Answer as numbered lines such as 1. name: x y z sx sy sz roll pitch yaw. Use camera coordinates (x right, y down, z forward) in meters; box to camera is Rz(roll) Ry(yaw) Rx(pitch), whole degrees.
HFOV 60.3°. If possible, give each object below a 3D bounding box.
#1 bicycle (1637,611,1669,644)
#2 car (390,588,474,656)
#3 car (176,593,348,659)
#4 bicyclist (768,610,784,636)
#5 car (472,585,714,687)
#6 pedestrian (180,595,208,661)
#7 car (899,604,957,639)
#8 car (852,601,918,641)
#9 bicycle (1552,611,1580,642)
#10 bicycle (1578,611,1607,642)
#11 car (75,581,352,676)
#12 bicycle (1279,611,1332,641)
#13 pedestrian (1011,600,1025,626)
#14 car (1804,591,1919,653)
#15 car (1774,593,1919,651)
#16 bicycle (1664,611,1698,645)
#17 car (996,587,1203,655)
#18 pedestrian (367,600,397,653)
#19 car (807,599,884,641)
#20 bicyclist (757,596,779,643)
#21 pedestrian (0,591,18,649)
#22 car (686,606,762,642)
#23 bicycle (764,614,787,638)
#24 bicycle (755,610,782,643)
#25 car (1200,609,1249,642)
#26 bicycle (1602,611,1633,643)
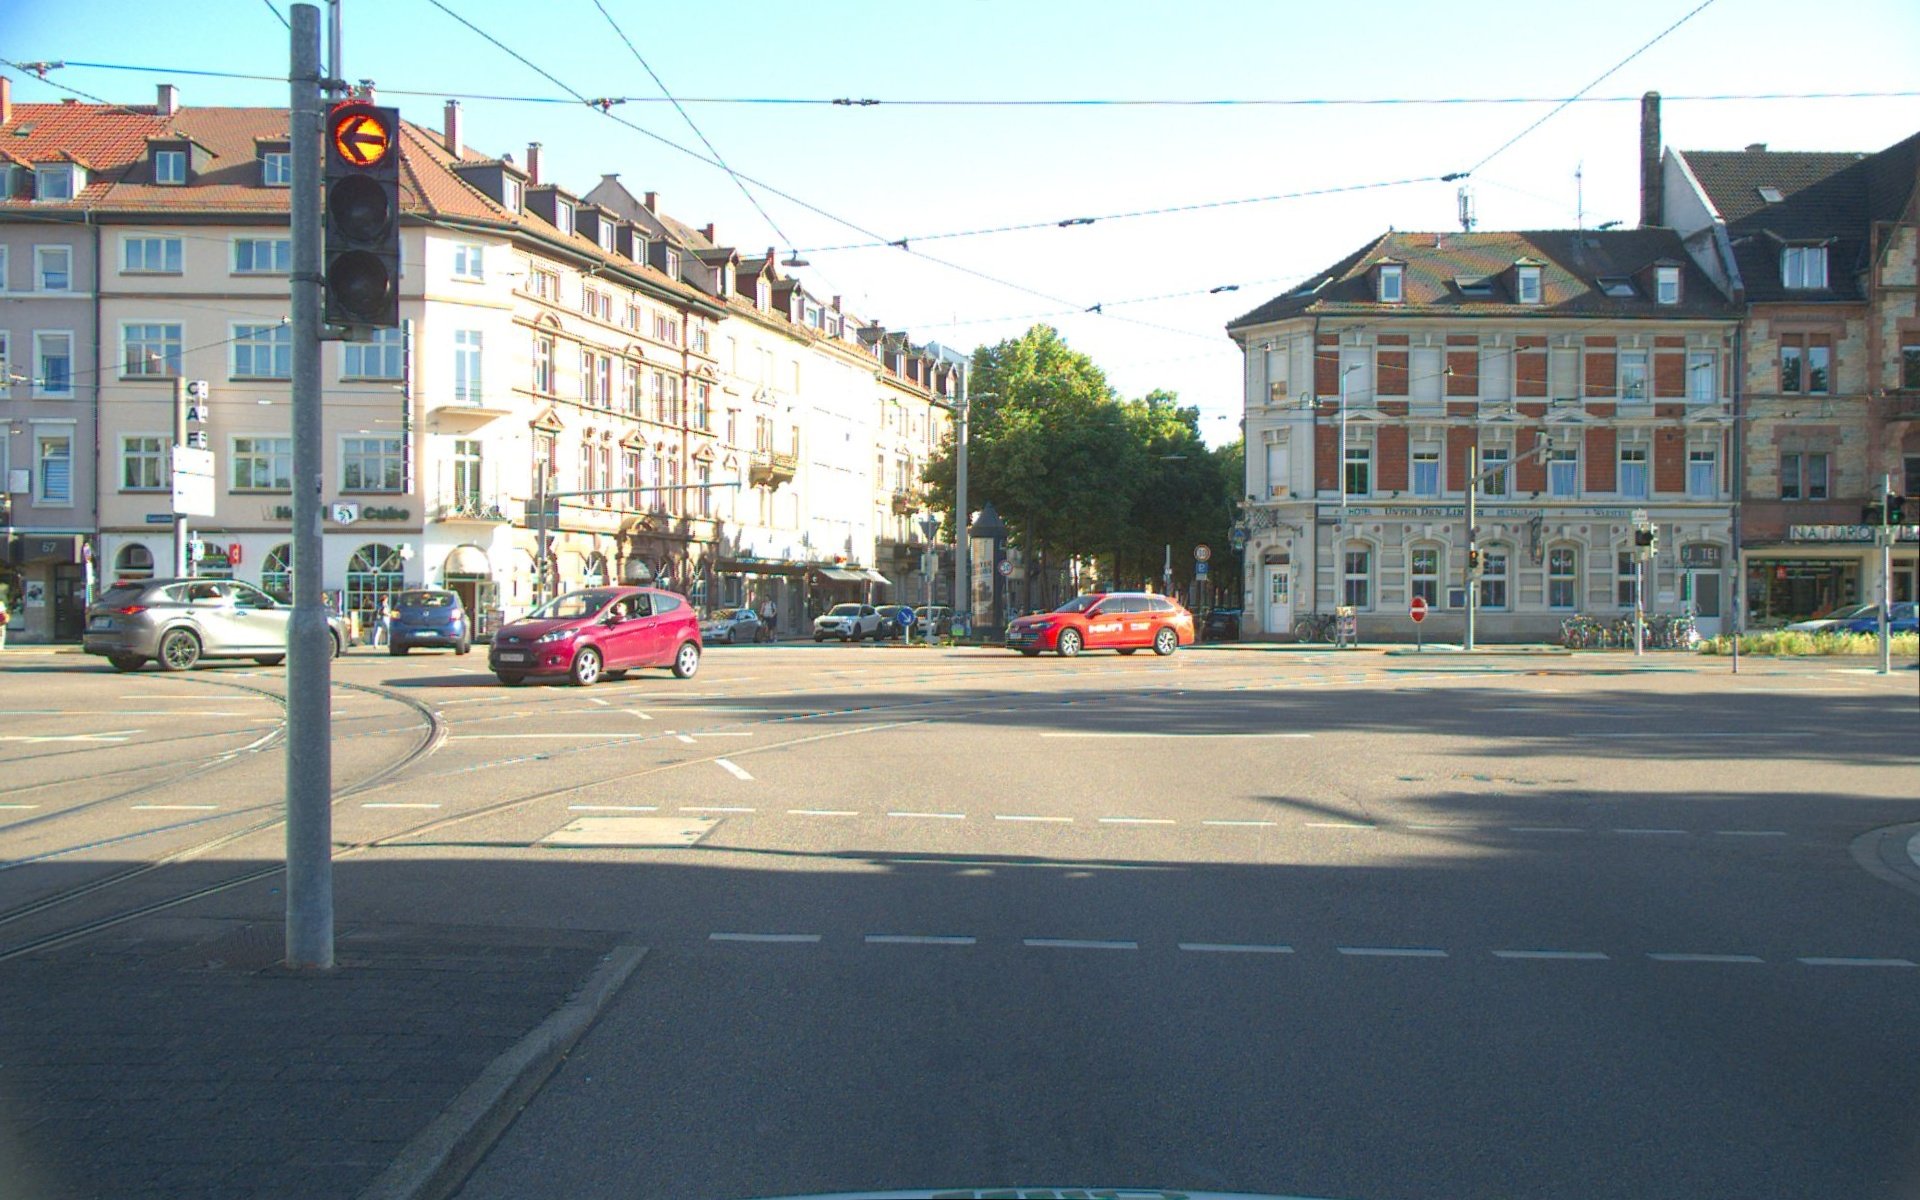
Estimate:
1. bicycle: 22.459 0.883 53.649 0.749 1.025 2.221 1 0 17
2. car: -12.646 0.482 39.759 1.755 1.530 3.903 0 1 -16
3. car: -18.034 0.641 42.737 4.102 1.602 1.830 1 0 26
4. bicyclist: -7.501 0.932 67.356 0.462 1.058 0.538 1 -1 14
5. car: -5.646 0.504 25.861 1.560 1.451 3.877 1 1 28
6. pedestrian: -21.930 0.803 47.336 0.517 1.854 0.675 1 -1 -8
7. car: -1.501 1.036 79.707 1.764 1.603 3.893 1 0 15
8. car: -3.289 0.923 73.567 1.786 1.715 3.877 1 0 16
9. bicycle: 19.807 0.851 54.053 0.749 0.979 2.211 1 0 17
10. bicycle: 20.562 0.864 53.816 0.749 0.985 2.211 1 0 17
11. car: -13.805 0.483 30.851 1.835 1.630 4.442 -1 0 33
12. bicycle: 11.979 0.898 57.305 1.764 0.979 0.604 1 0 14
13. pedestrian: 4.140 0.950 118.730 0.703 1.821 0.688 1 -1 -36
14. car: 25.920 0.629 46.048 3.905 1.650 1.804 1 0 0
15. car: 26.571 0.653 49.141 3.905 1.650 1.804 1 0 0
16. bicycle: 23.319 0.896 53.503 0.775 1.033 2.211 1 0 17
17. car: 3.339 0.448 39.261 4.809 1.495 1.785 0 1 -31
18. pedestrian: -18.078 0.826 51.740 0.655 1.622 0.815 1 -1 -1
19. car: -4.616 0.800 67.210 1.764 1.613 4.162 1 0 16
20. bicyclist: -7.545 0.763 65.039 0.553 1.835 0.915 1 -1 14
21. pedestrian: -27.943 0.570 48.233 0.572 1.677 0.616 1 -1 -1
22. car: -9.494 0.945 66.779 1.624 1.398 3.894 1 0 14
23. bicycle: -7.502 1.059 67.345 0.462 0.938 1.453 1 0 14
24. bicycle: -7.527 1.050 65.093 0.553 1.276 1.558 1 0 14
25. car: 13.232 1.266 82.593 1.719 1.583 4.001 1 0 20
26. bicycle: 21.340 0.877 53.723 0.749 1.001 2.211 1 0 17
